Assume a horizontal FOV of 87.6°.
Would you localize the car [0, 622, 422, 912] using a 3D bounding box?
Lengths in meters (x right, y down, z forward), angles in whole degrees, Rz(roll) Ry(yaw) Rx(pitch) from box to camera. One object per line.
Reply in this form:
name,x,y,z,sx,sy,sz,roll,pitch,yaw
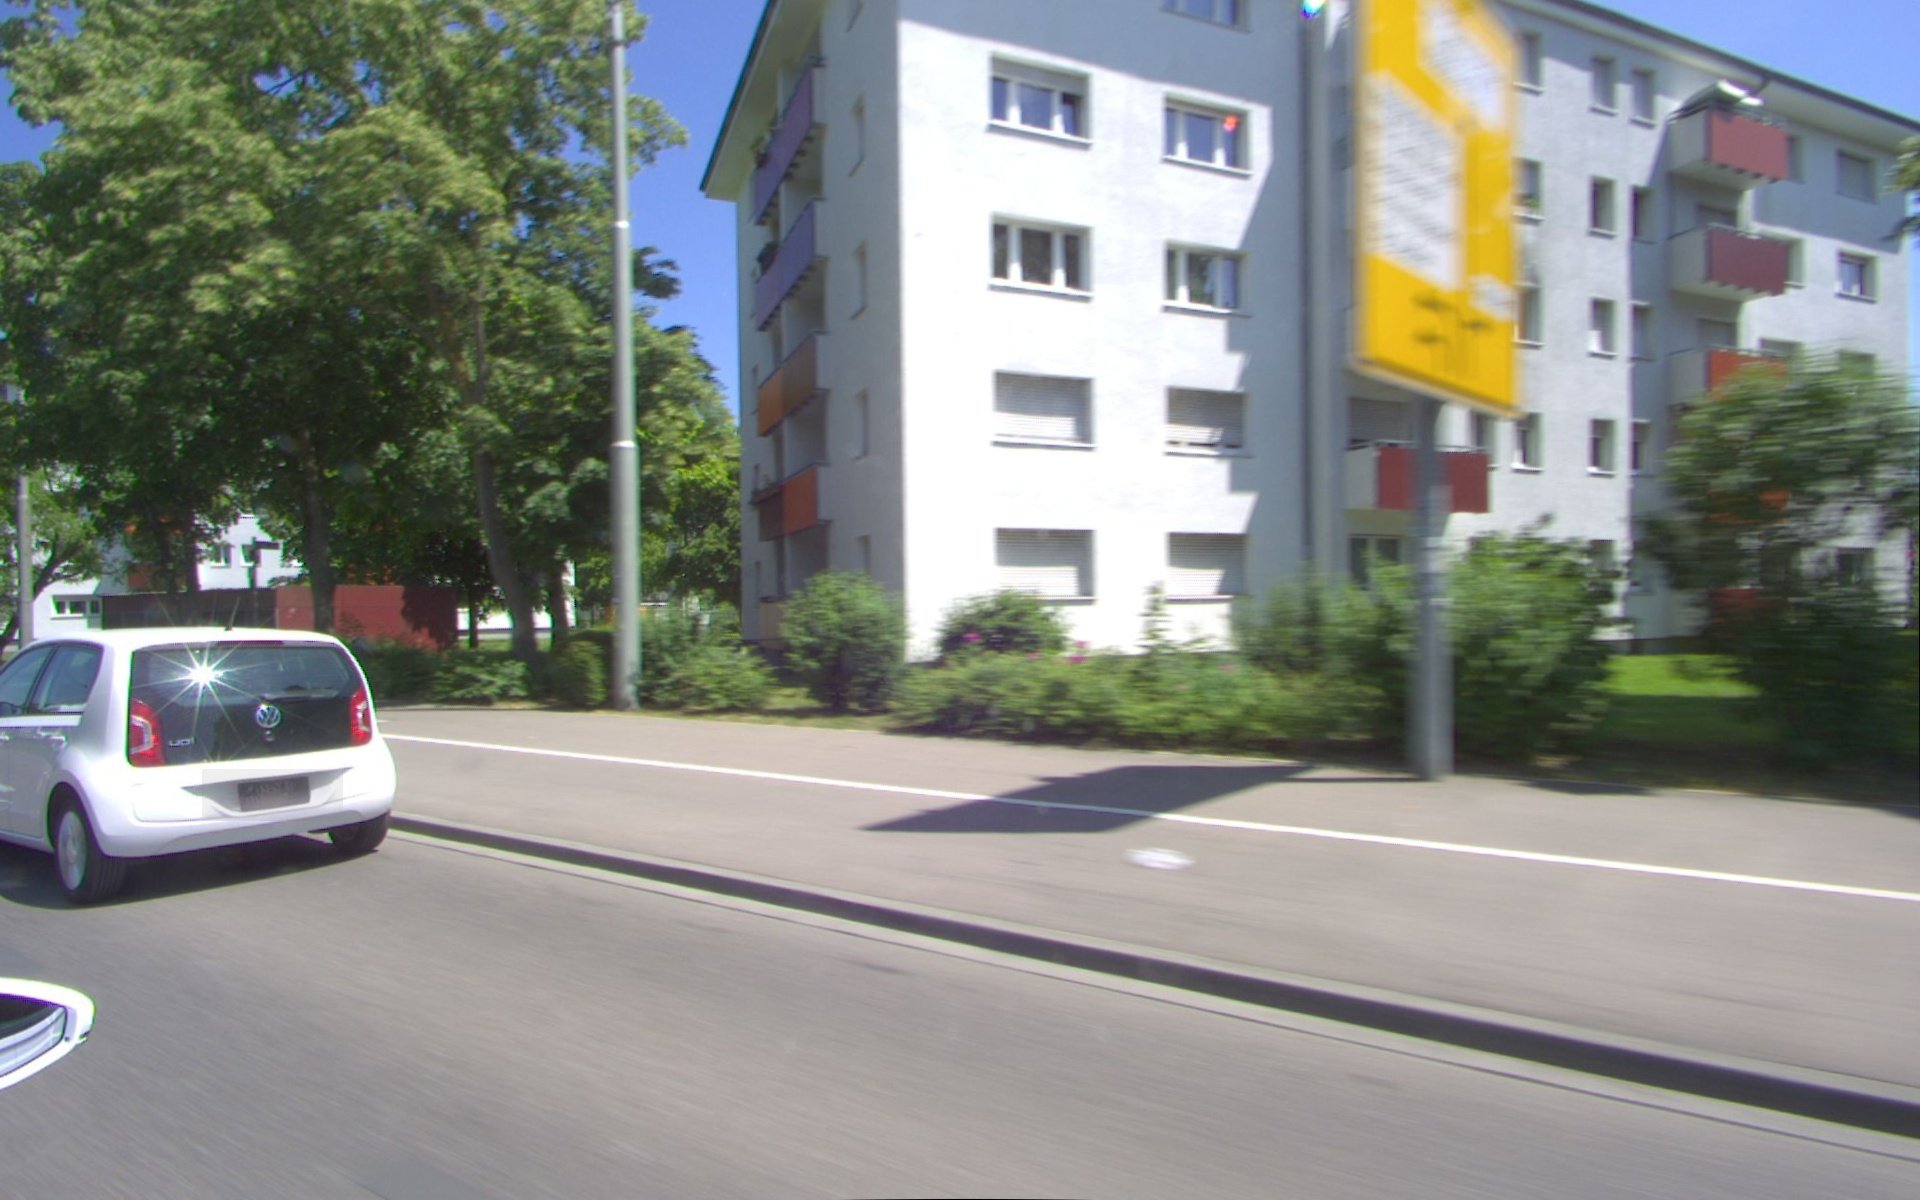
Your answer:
car,-5.513,0.897,6.809,3.800,1.468,1.656,-1,-2,33
